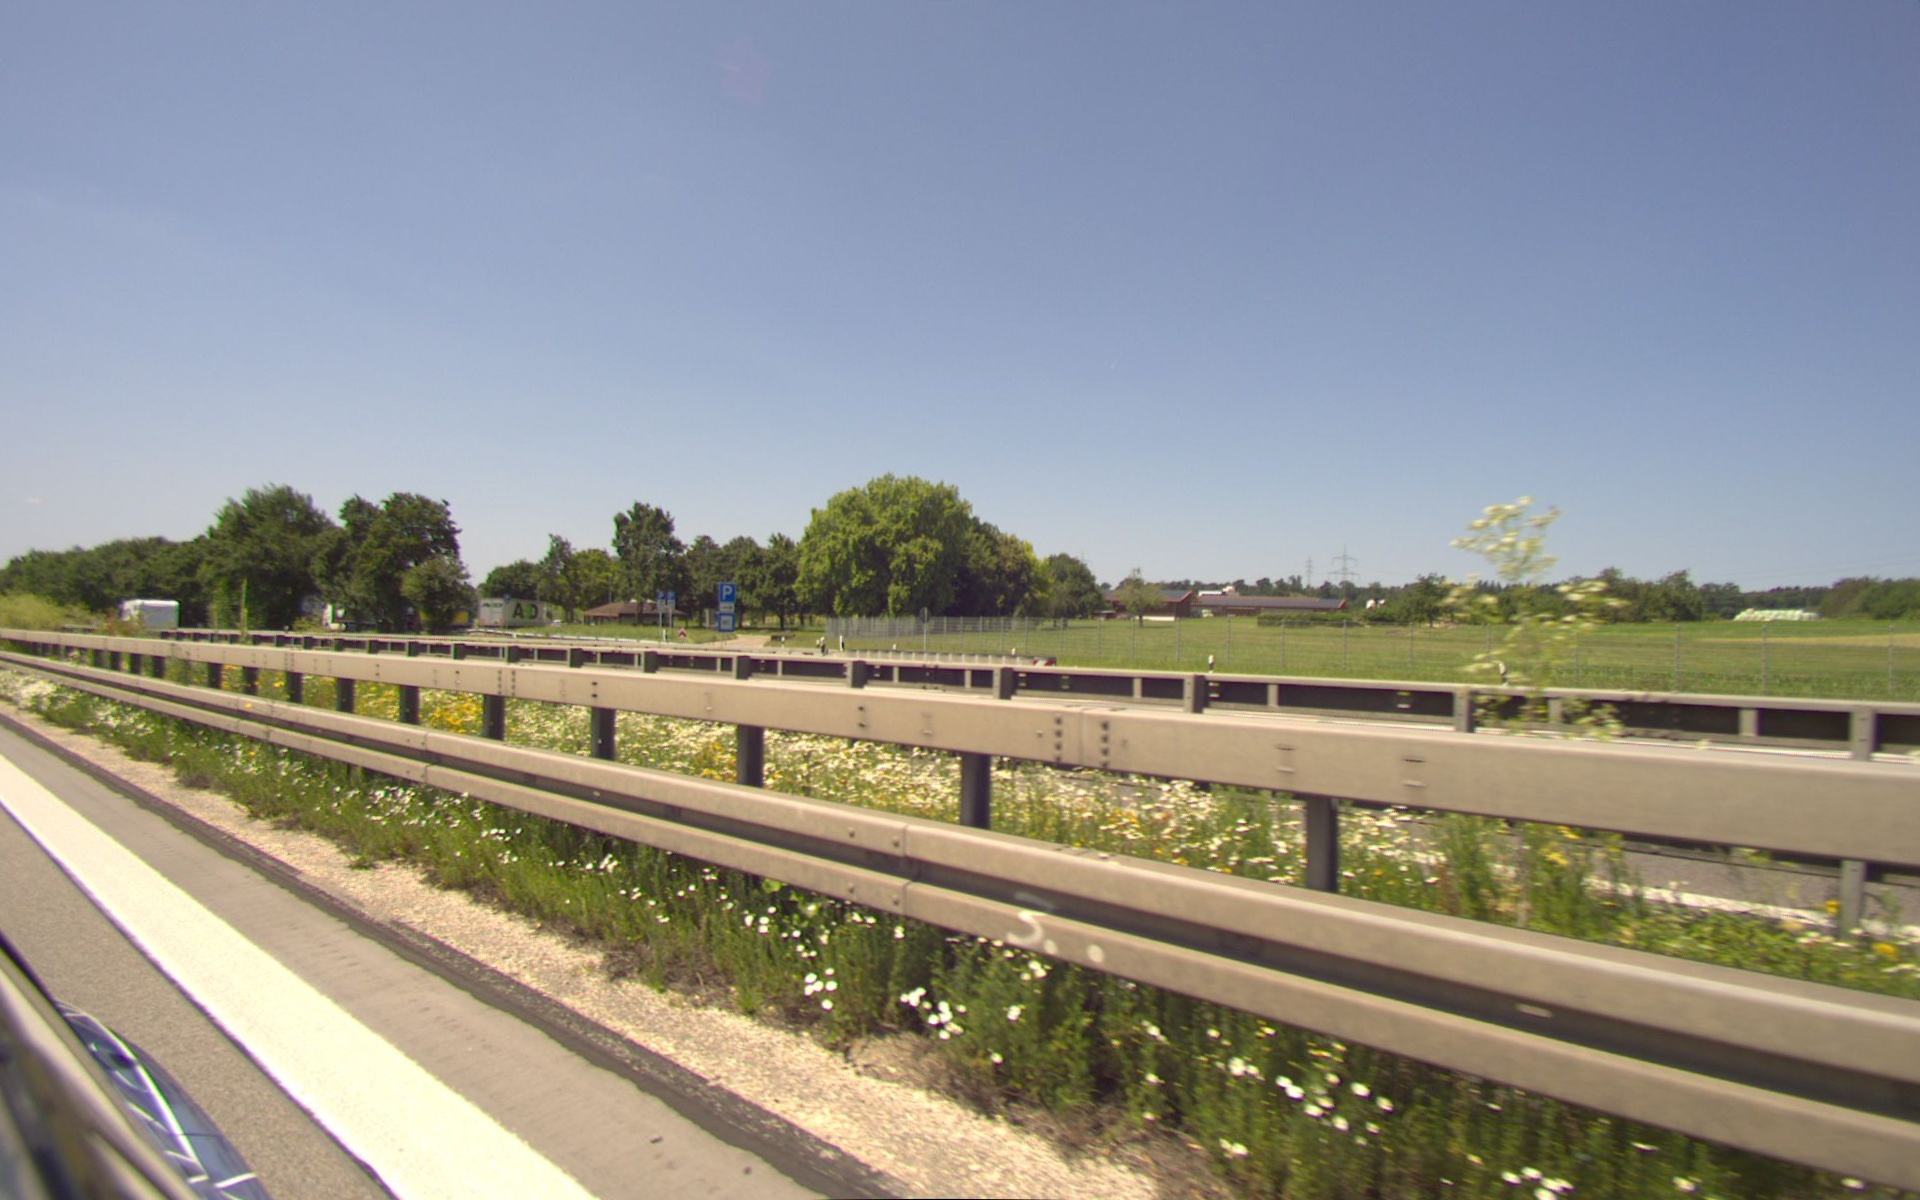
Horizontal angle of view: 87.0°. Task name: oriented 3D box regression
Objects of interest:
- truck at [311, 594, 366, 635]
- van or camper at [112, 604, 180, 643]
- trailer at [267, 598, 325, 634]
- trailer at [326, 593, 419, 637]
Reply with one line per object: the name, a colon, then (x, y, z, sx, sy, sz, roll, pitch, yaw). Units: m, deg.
truck: (-60.163, 1.359, 97.917, 6.095, 3.811, 2.768, 0, 0, 41)
van or camper: (-57.646, 1.601, 71.646, 6.705, 2.555, 2.510, 1, 0, 40)
trailer: (-69.683, 1.657, 106.149, 8.703, 3.689, 2.520, 0, 0, 39)
trailer: (-53.828, 1.301, 92.496, 14.402, 3.807, 2.740, 0, 0, 41)
